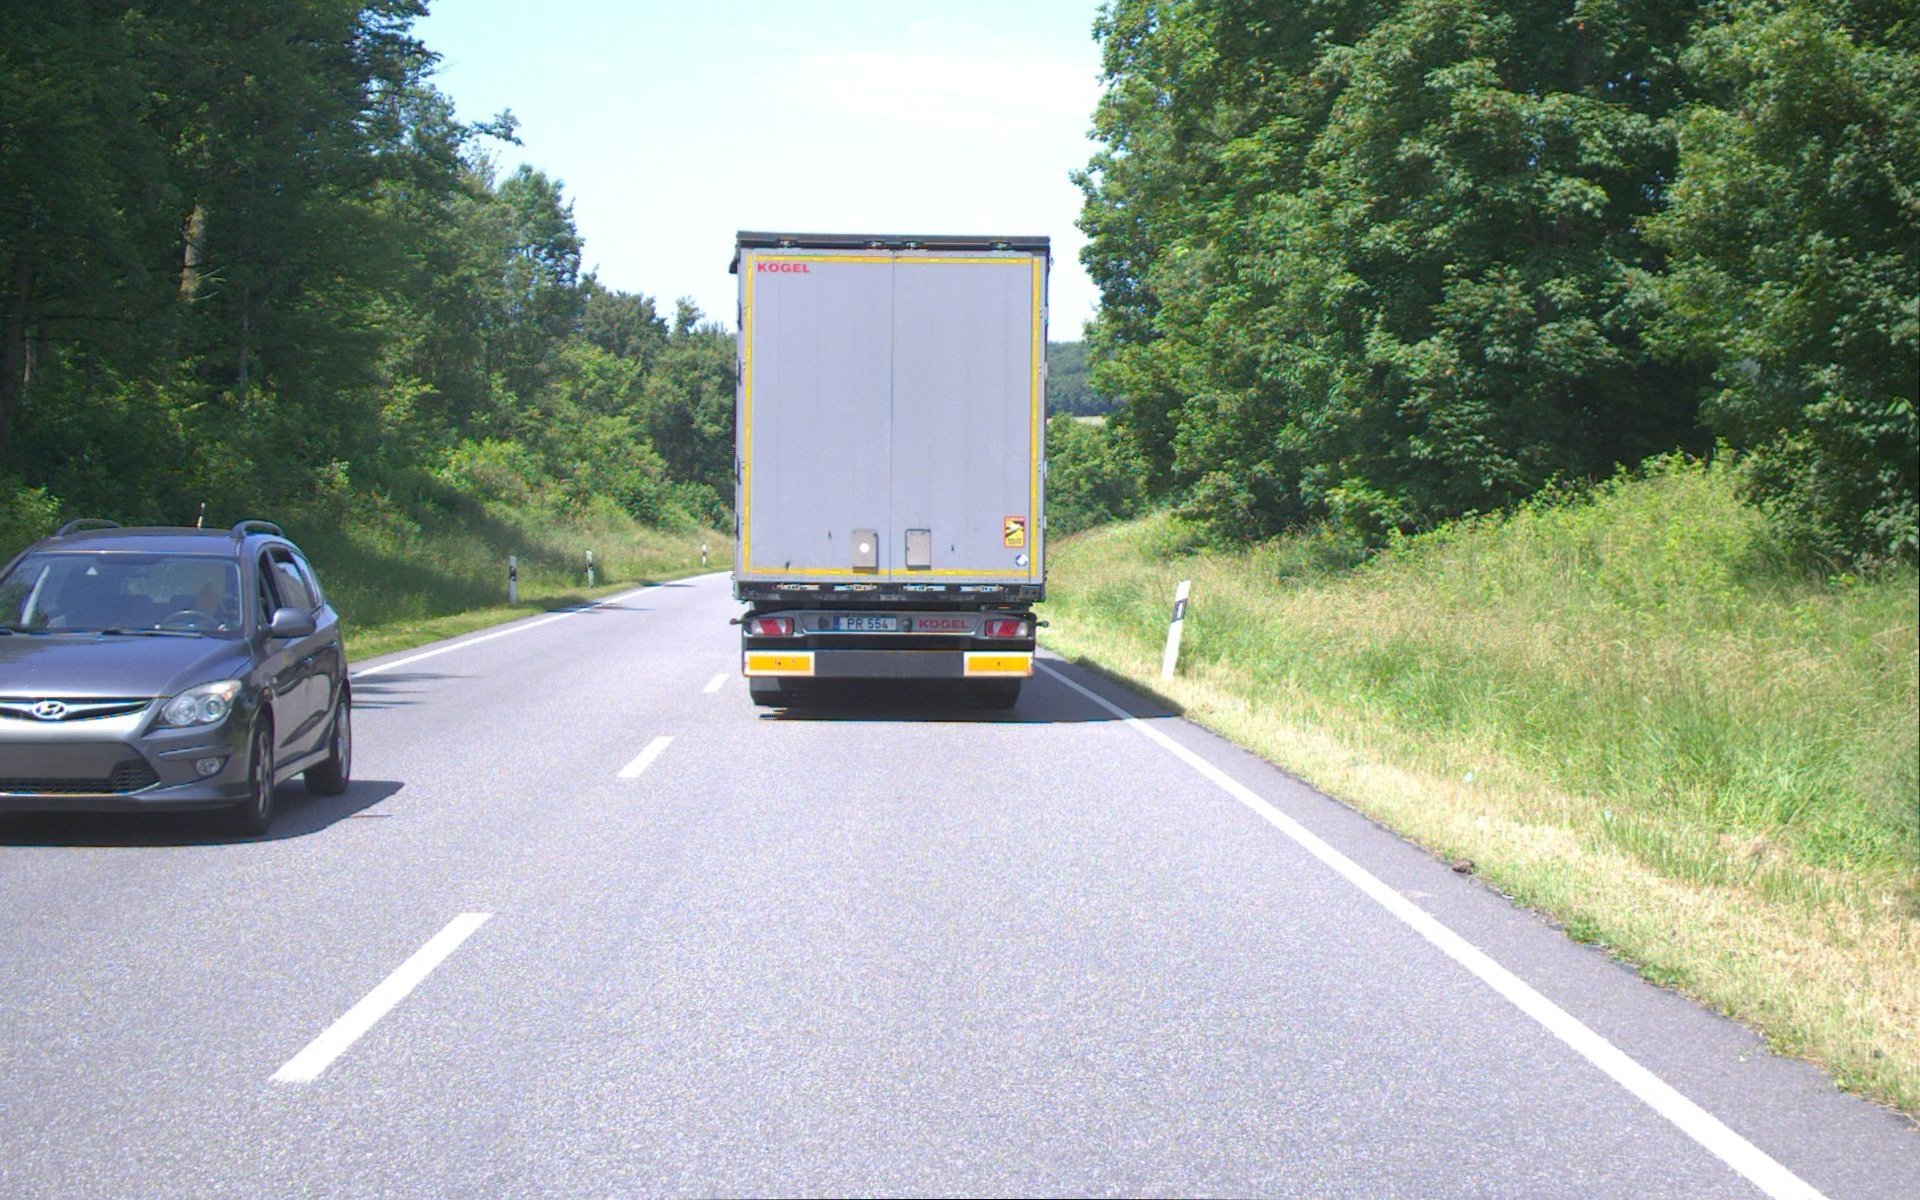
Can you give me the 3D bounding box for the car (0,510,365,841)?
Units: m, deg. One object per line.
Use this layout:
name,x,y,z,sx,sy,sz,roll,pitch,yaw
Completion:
car,-4.341,0.314,18.459,1.771,1.565,4.218,0,1,-3

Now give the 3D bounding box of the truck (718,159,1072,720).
truck,-0.699,-1.418,33.757,2.817,4.517,11.769,1,1,-2
